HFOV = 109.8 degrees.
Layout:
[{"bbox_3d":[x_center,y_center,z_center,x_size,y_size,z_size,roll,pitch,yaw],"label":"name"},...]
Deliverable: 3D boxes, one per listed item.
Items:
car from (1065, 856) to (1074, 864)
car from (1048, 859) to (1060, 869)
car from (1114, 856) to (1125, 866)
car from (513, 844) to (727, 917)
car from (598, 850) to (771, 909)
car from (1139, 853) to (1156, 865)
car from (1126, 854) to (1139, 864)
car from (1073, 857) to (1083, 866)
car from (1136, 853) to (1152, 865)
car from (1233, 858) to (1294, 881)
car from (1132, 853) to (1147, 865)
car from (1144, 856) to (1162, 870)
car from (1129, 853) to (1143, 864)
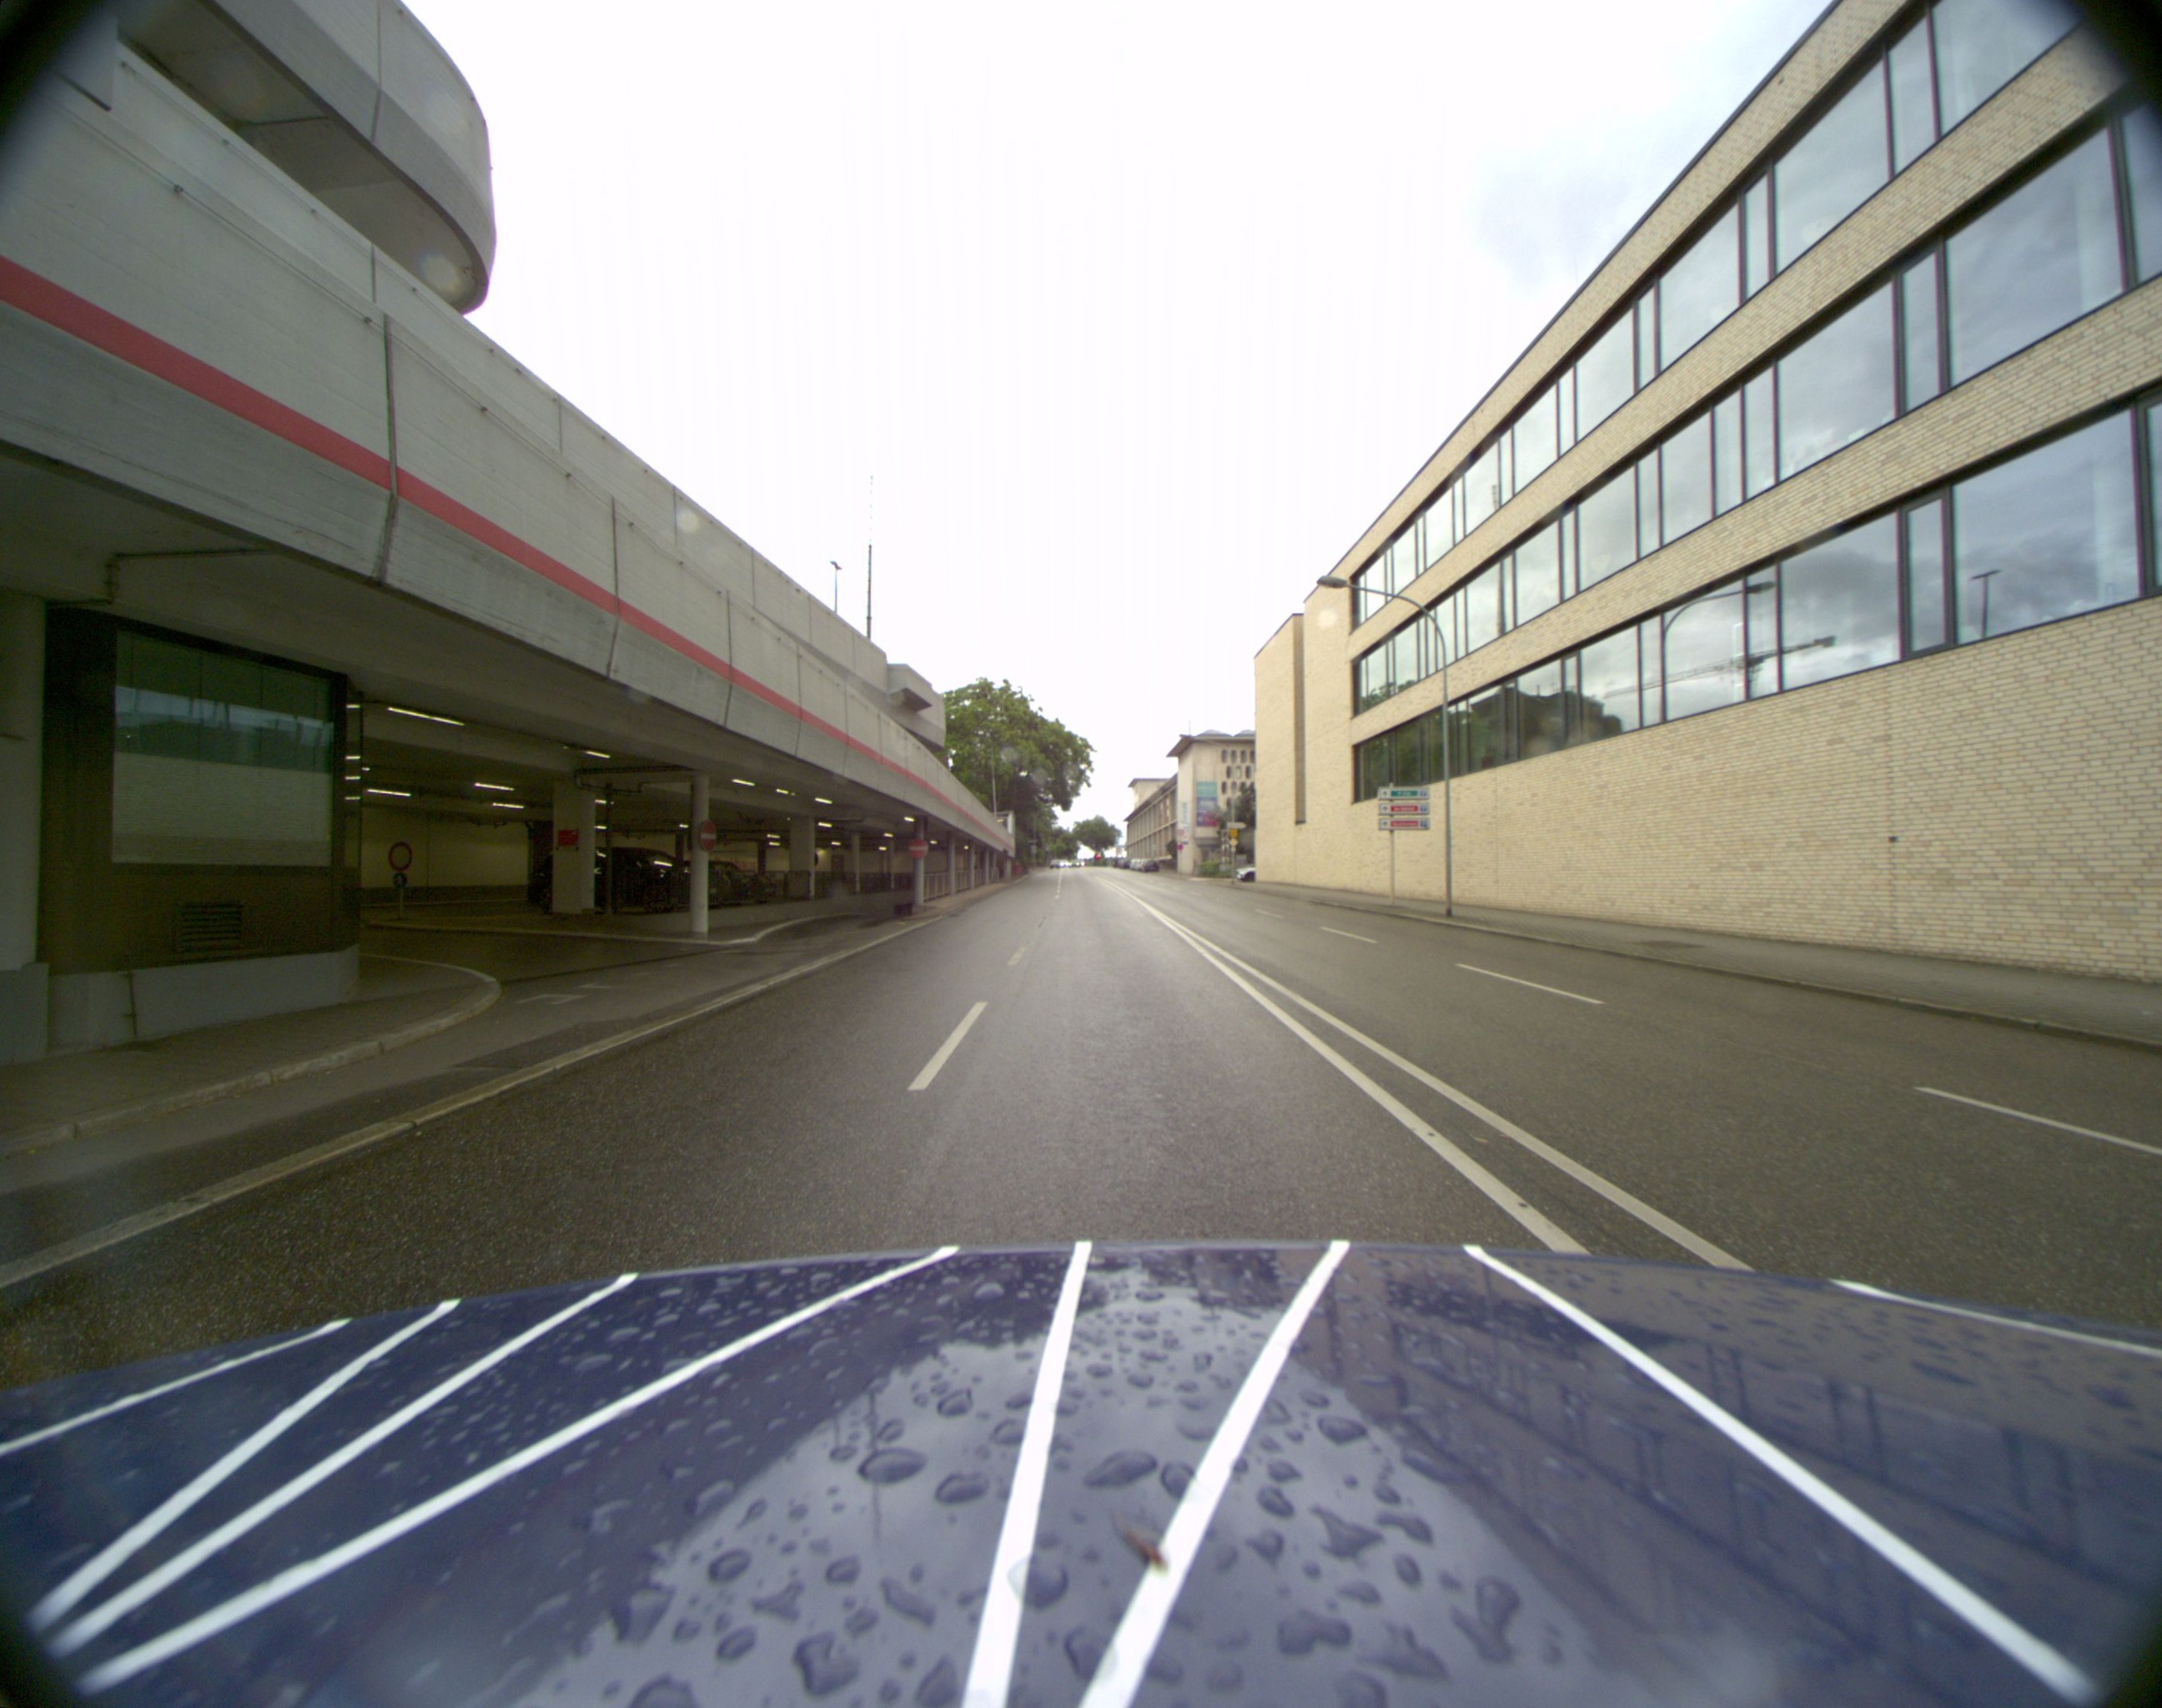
[{"bbox_3d":[-2.653,1.333,174.953,1.727,1.628,3.999,-2,1,1],"label":"car"},{"bbox_3d":[-4.461,1.709,126.521,1.683,1.516,3.990,-2,-1,1],"label":"car"},{"bbox_3d":[7.203,1.253,142.585,1.698,1.715,3.756,-2,1,1],"label":"car"},{"bbox_3d":[-11.390,0.700,18.947,4.251,1.650,2.003,-1,-4,10],"label":"car"},{"bbox_3d":[-11.921,0.824,22.971,4.251,1.650,2.003,-1,-4,10],"label":"car"},{"bbox_3d":[8.477,0.646,96.427,1.800,1.516,4.056,-2,-1,1],"label":"car"},{"bbox_3d":[8.203,0.841,121.616,1.800,1.516,4.056,-2,-1,1],"label":"car"},{"bbox_3d":[-0.541,1.427,139.923,1.852,1.516,3.990,-2,-1,1],"label":"car"},{"bbox_3d":[8.362,0.657,101.565,1.800,1.516,4.056,-2,-1,1],"label":"car"},{"bbox_3d":[13.620,1.130,56.859,4.054,1.516,1.801,-2,0,-4],"label":"car"},{"bbox_3d":[8.248,0.704,106.643,1.800,1.516,4.056,-2,-1,1],"label":"car"},{"bbox_3d":[8.635,1.055,90.965,1.800,1.516,4.056,-2,-1,1],"label":"car"},{"bbox_3d":[8.246,0.711,113.224,1.800,1.516,4.056,-2,-1,1],"label":"car"}]
